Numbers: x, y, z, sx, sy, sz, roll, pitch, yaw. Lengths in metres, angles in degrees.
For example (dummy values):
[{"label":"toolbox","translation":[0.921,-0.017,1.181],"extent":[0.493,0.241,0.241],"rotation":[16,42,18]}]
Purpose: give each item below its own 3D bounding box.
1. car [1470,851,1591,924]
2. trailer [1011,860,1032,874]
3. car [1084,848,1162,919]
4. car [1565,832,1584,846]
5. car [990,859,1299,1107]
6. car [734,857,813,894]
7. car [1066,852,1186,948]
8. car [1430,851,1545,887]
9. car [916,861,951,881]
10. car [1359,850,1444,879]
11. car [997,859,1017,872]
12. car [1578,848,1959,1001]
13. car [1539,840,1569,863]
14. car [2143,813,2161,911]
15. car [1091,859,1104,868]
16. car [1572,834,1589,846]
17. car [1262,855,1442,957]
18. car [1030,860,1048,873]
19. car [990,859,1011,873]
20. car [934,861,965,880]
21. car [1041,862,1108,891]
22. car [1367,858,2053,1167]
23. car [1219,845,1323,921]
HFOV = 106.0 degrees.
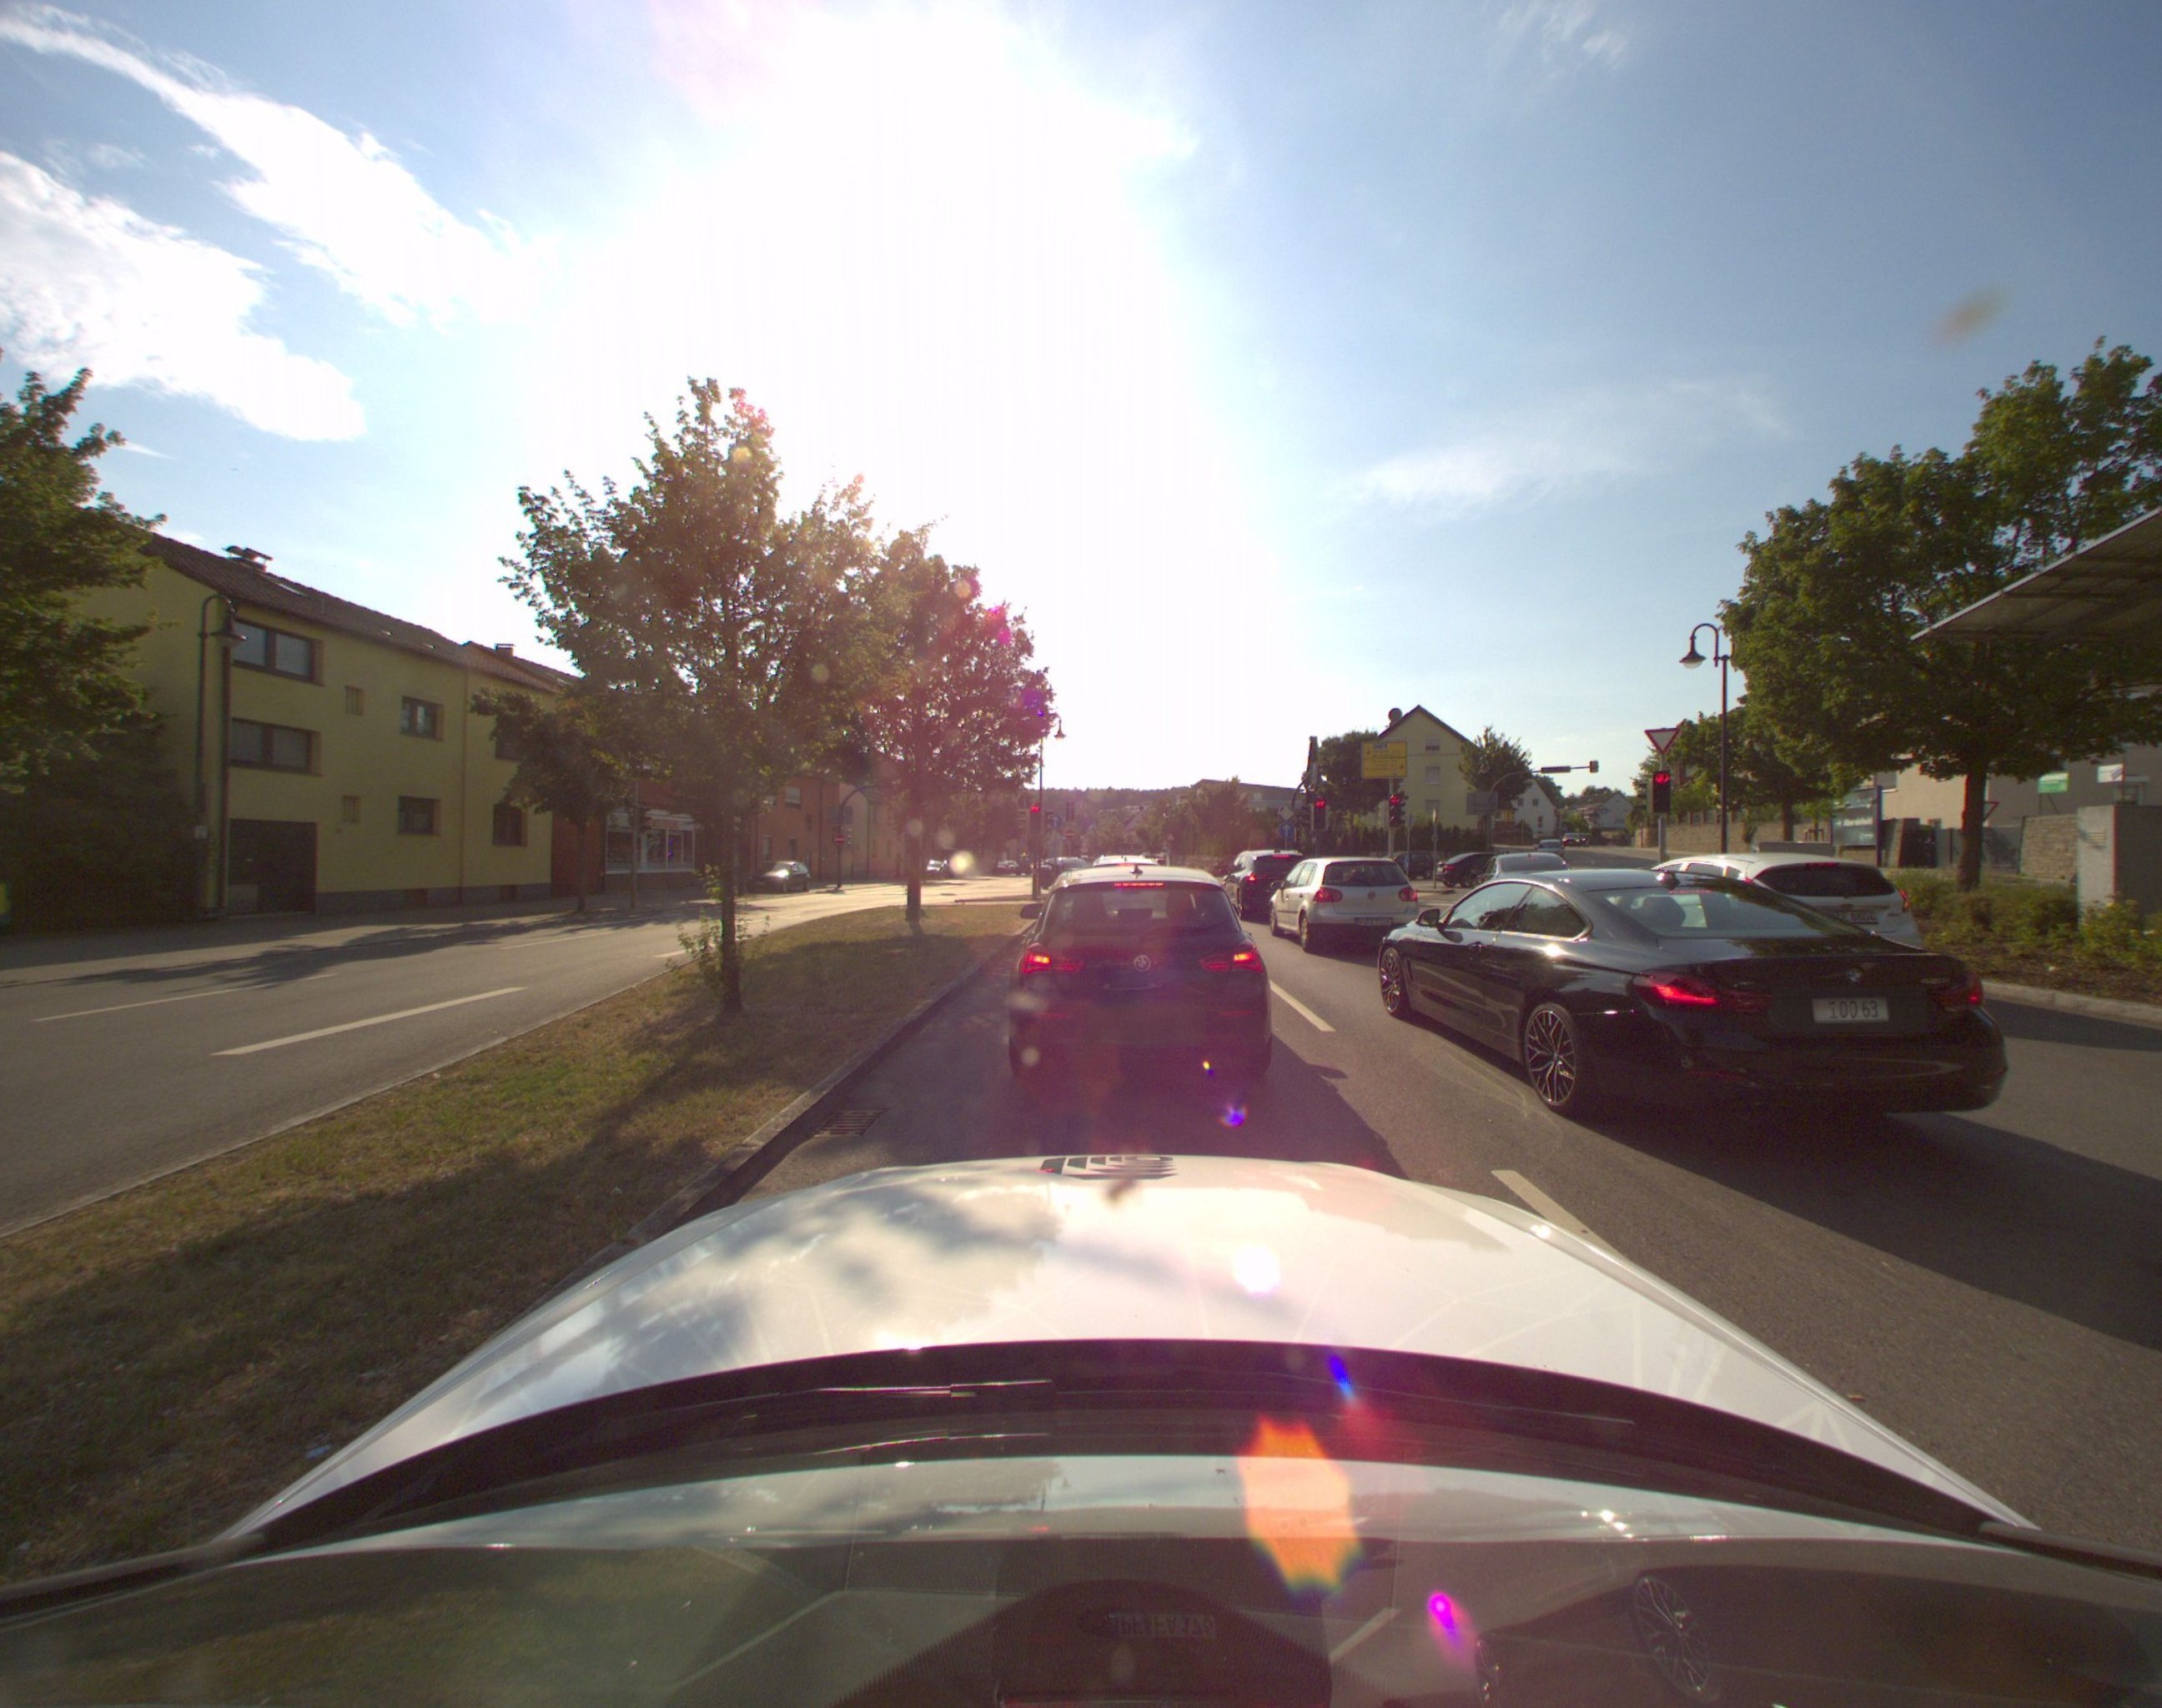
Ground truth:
[{"label":"car","translation":[9.919,0.658,18.306],"extent":[1.667,1.435,4.612],"rotation":[-1,0,20]},{"label":"trailer","translation":[-6.971,1.485,95.347],"extent":[1.986,1.552,4.001],"rotation":[0,0,2]},{"label":"car","translation":[1.104,0.694,21.034],"extent":[1.808,1.641,4.245],"rotation":[-1,0,3]},{"label":"car","translation":[56.573,-1.709,93.345],"extent":[1.759,1.580,4.025],"rotation":[-1,0,32]},{"label":"car","translation":[0.492,0.769,6.917],"extent":[1.783,1.414,4.351],"rotation":[-1,0,3]},{"label":"car","translation":[-14.235,0.955,37.965],"extent":[1.835,1.552,4.005],"rotation":[2,0,5]},{"label":"car","translation":[0.804,0.703,14.450],"extent":[1.808,1.451,4.245],"rotation":[-1,0,3]},{"label":"car","translation":[16.958,0.631,34.156],"extent":[3.961,1.458,1.777],"rotation":[0,0,10]},{"label":"car","translation":[-12.178,1.363,67.571],"extent":[1.916,1.596,4.004],"rotation":[0,0,4]},{"label":"car","translation":[17.478,0.572,44.439],"extent":[4.061,1.507,1.783],"rotation":[0,0,-14]},{"label":"car","translation":[-9.317,1.399,103.214],"extent":[1.916,1.596,4.004],"rotation":[0,0,4]},{"label":"car","translation":[7.829,0.677,9.865],"extent":[1.718,1.450,4.080],"rotation":[-1,0,10]},{"label":"car","translation":[31.911,-0.189,54.993],"extent":[1.694,1.244,4.026],"rotation":[-1,3,30]},{"label":"car","translation":[19.430,0.114,12.219],"extent":[3.958,1.608,1.861],"rotation":[0,0,14]},{"label":"car","translation":[2.943,1.674,144.943],"extent":[1.858,1.485,4.652],"rotation":[0,0,-4]},{"label":"car","translation":[69.243,-1.878,112.768],"extent":[1.759,1.580,4.025],"rotation":[-1,0,35]},{"label":"car","translation":[4.339,0.745,13.769],"extent":[1.808,1.446,4.351],"rotation":[-1,0,3]},{"label":"car","translation":[-5.556,1.595,107.358],"extent":[1.916,1.596,4.004],"rotation":[0,0,4]},{"label":"car","translation":[-9.623,1.390,97.712],"extent":[1.916,1.596,4.004],"rotation":[0,0,4]},{"label":"car","translation":[-11.811,1.489,73.359],"extent":[1.916,1.596,4.004],"rotation":[0,0,4]},{"label":"car","translation":[-0.387,1.113,41.343],"extent":[1.703,1.353,3.963],"rotation":[0,0,-29]},{"label":"car","translation":[3.630,0.737,5.908],"extent":[1.808,1.388,4.351],"rotation":[-1,0,3]},{"label":"car","translation":[4.586,0.656,20.277],"extent":[1.808,1.666,4.351],"rotation":[-1,0,3]}]
